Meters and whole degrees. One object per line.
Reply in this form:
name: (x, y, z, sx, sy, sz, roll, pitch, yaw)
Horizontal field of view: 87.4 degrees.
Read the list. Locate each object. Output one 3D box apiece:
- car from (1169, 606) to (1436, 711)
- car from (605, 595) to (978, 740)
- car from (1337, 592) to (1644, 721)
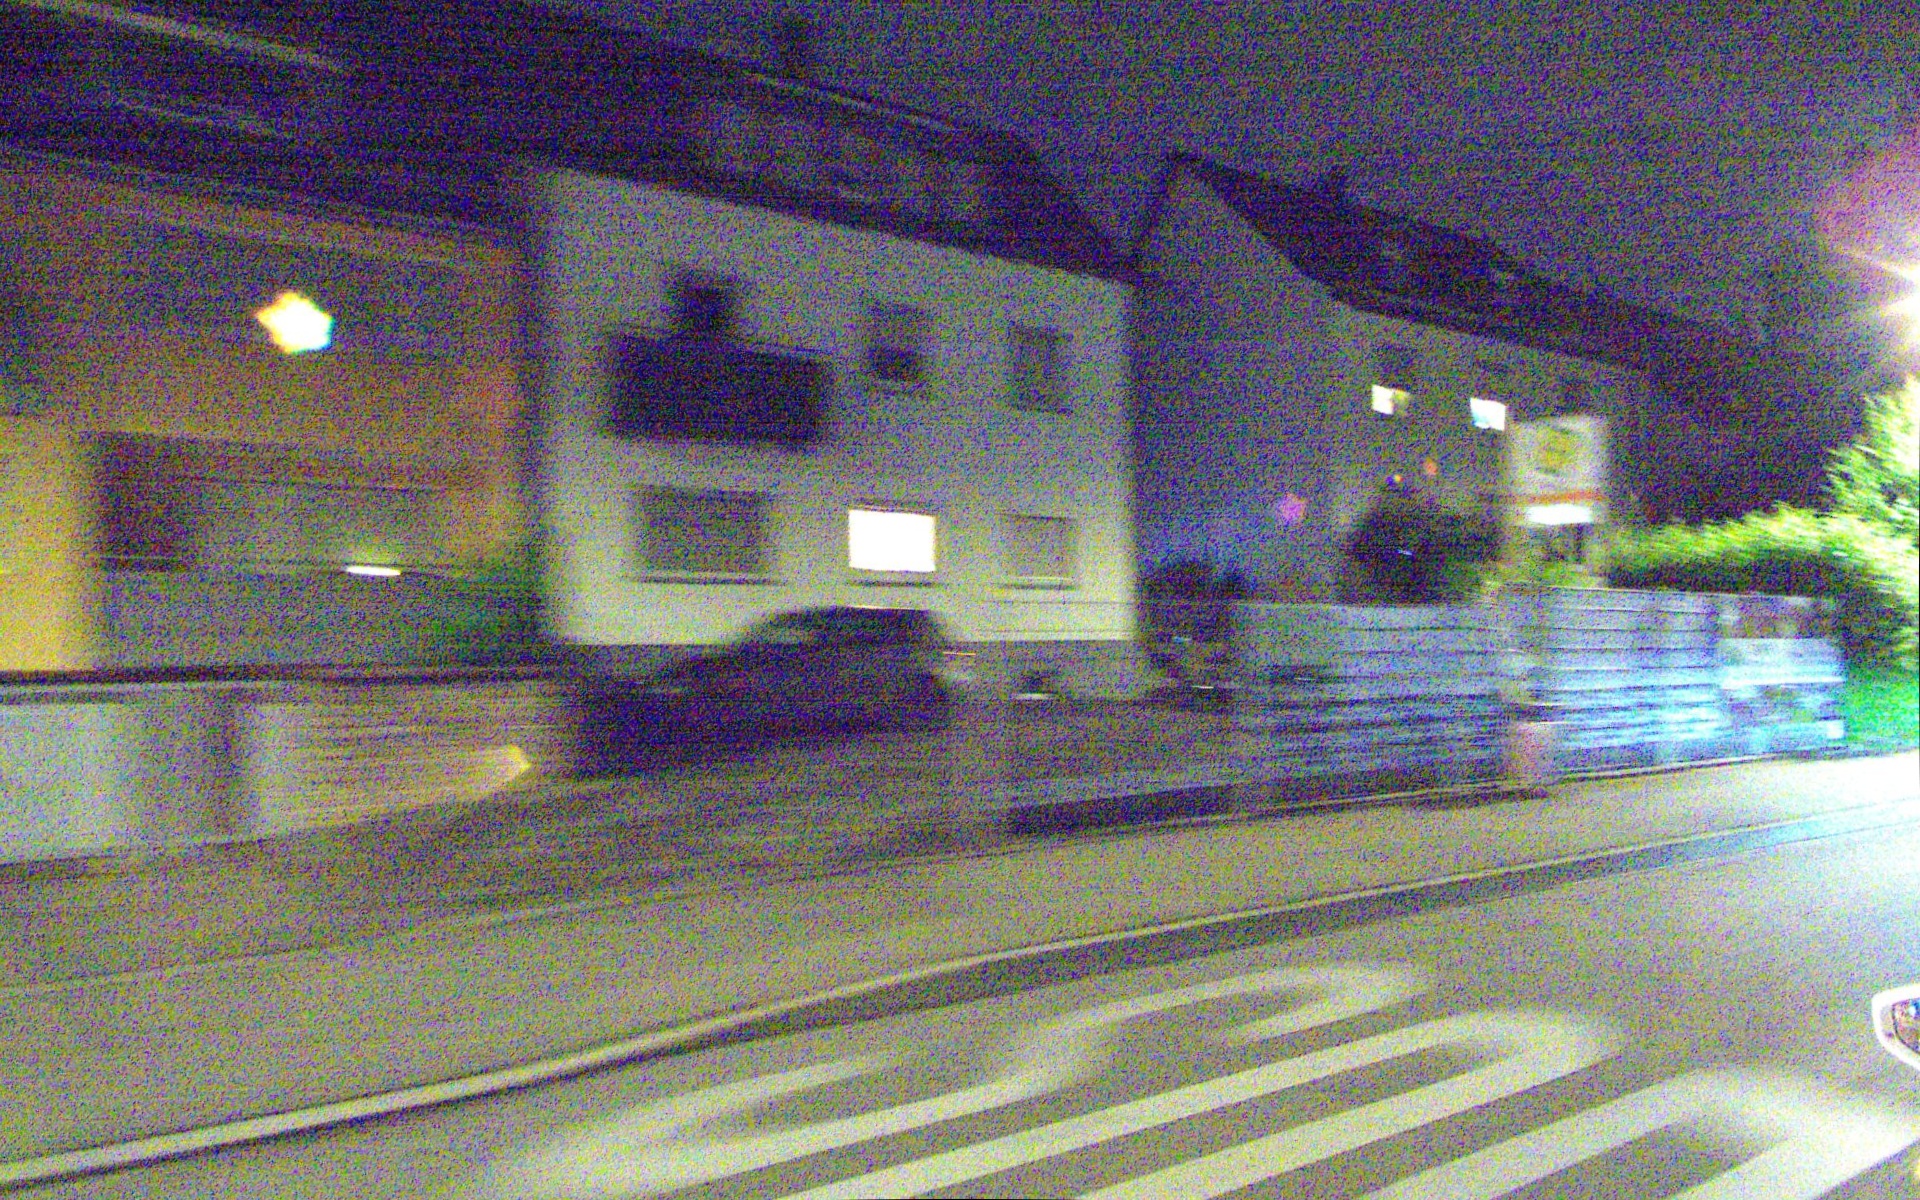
car: (5.488, 0.884, 16.035, 3.951, 1.446, 1.841, 1, 1, -29)
car: (-1.978, 0.722, 11.943, 4.067, 1.478, 1.721, 1, 0, -26)
car: (7.140, 0.677, 13.443, 3.958, 1.458, 1.962, 1, 1, -34)
